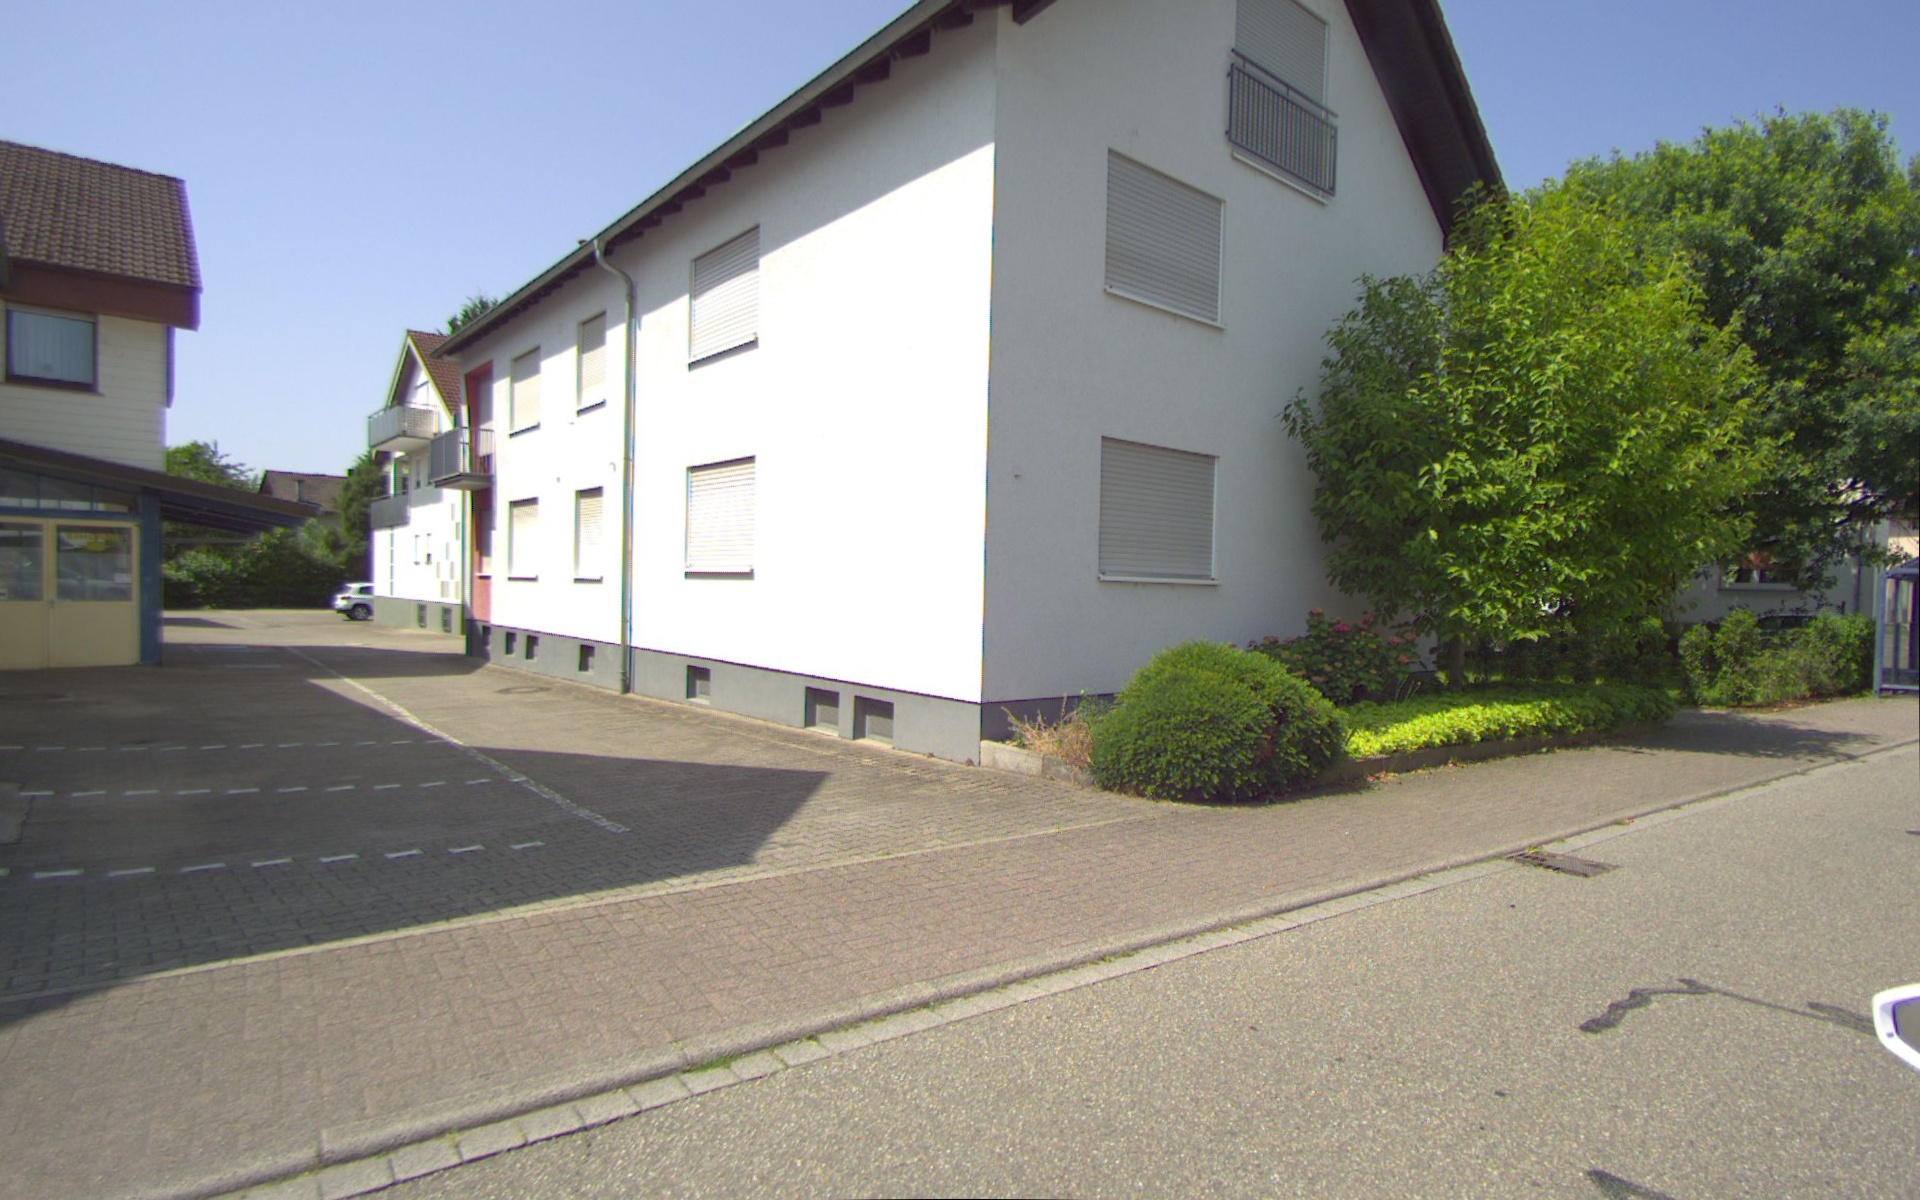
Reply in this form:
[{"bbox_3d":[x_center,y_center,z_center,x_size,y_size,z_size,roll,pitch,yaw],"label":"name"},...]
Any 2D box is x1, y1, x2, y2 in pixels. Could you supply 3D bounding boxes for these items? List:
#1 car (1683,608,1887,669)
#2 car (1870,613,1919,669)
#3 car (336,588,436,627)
[{"bbox_3d":[22.746,1.020,27.816,1.758,1.559,4.126,0,-1,-39],"label":"car"},{"bbox_3d":[27.236,1.141,28.414,4.024,1.454,1.762,0,1,-42],"label":"car"},{"bbox_3d":[-26.766,0.365,46.873,3.955,1.724,1.983,1,0,-32],"label":"car"}]
